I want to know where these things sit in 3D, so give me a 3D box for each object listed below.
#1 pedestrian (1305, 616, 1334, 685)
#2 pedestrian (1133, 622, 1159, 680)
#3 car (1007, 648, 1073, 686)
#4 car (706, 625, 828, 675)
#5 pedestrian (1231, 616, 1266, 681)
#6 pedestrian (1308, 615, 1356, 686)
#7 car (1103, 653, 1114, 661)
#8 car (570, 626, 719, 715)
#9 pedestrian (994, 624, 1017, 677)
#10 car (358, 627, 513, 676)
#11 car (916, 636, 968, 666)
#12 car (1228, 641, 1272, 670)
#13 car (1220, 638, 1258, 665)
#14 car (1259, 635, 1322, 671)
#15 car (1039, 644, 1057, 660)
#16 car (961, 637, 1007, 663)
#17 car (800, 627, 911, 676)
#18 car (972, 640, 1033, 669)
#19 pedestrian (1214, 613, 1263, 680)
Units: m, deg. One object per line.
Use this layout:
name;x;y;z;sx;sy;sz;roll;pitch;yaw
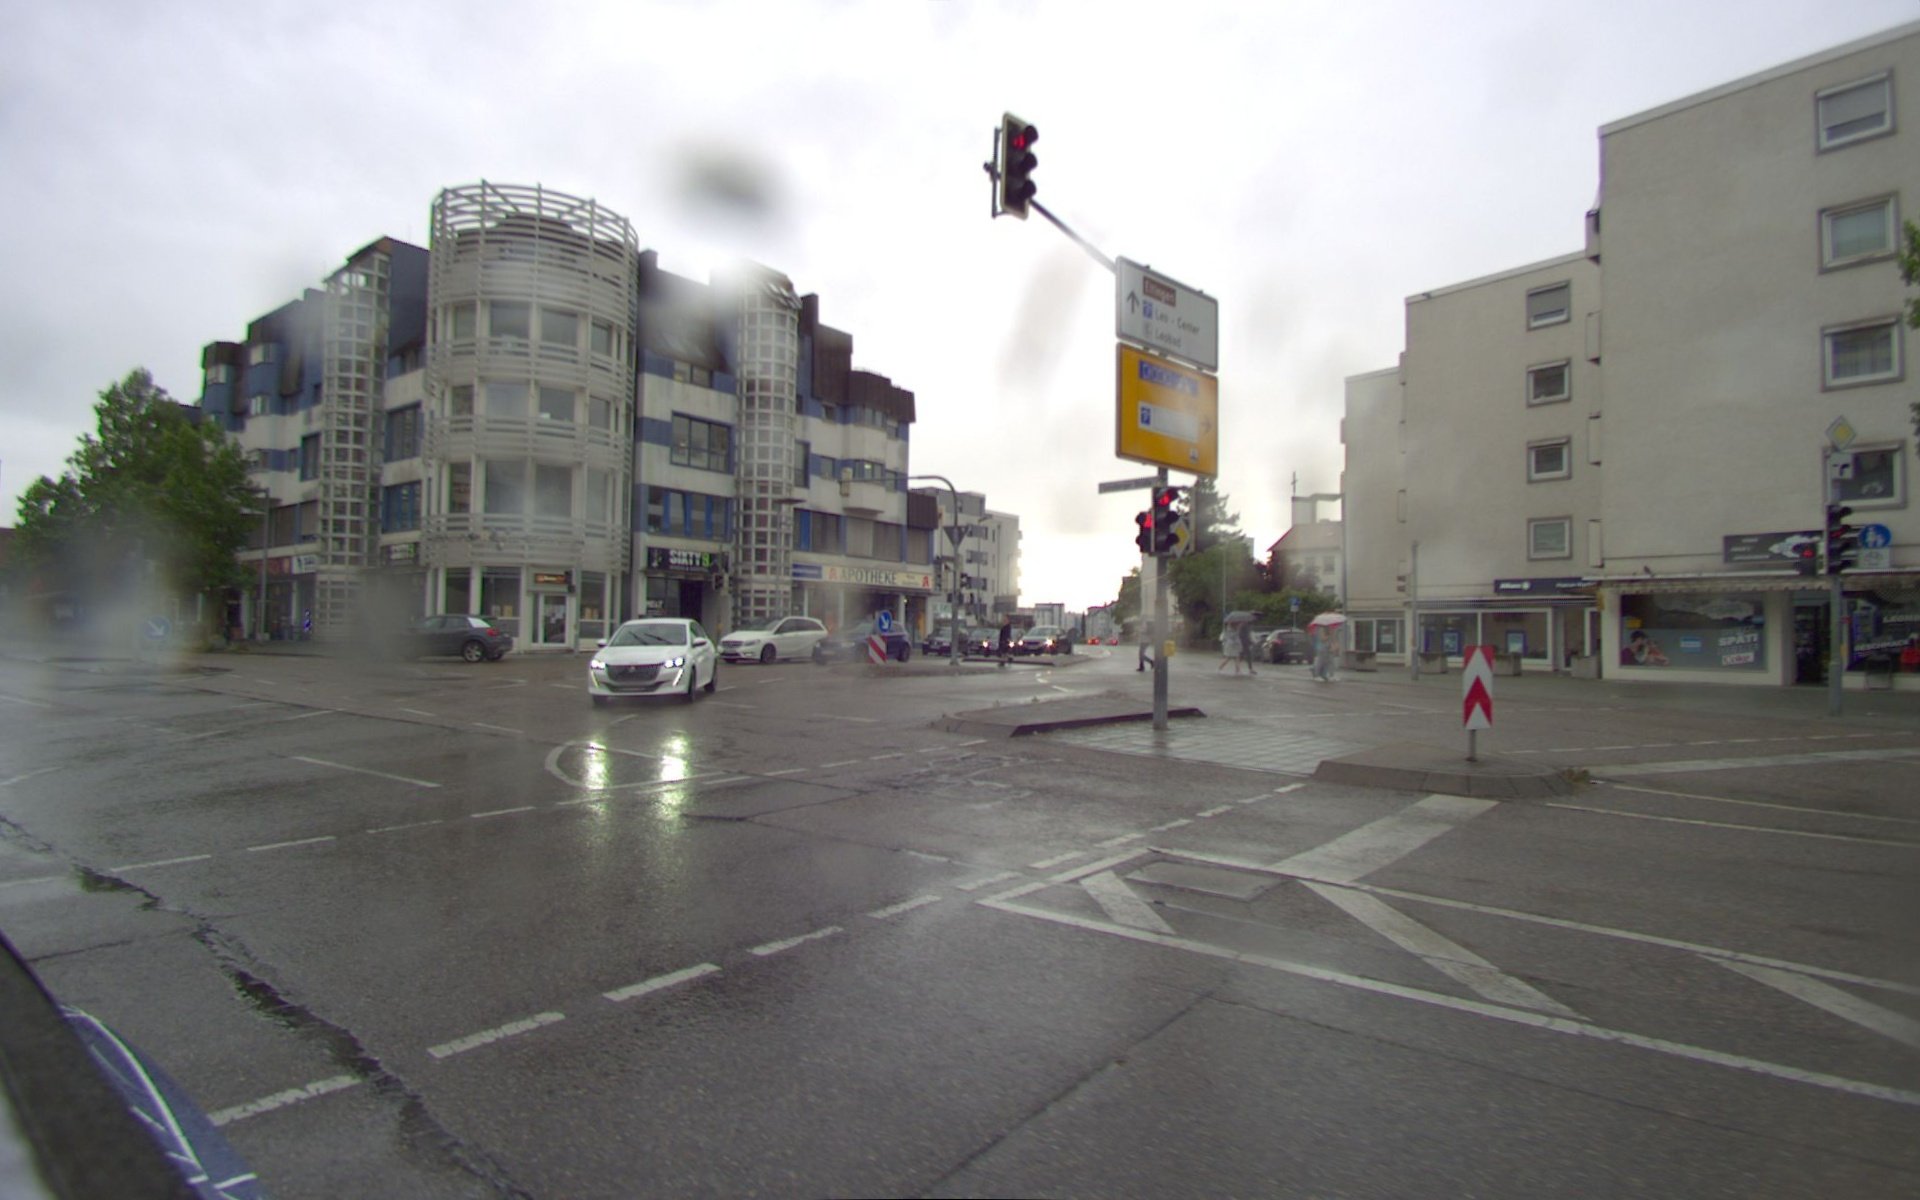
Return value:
pedestrian;9.052;1.253;25.484;0.669;1.698;0.801;0;-2;20
pedestrian;5.525;1.510;30.020;0.708;1.668;0.810;0;-3;16
car;3.692;3.006;46.088;1.985;1.627;3.972;-2;-3;20
car;-6.281;1.670;33.358;1.728;1.540;4.020;-1;-4;31
pedestrian;7.947;1.317;27.833;0.831;1.749;0.946;0;-2;23
pedestrian;9.006;1.217;24.491;0.934;1.690;0.907;-1;-3;29
car;26.454;10.163;180.070;1.850;1.448;3.731;0;-2;8
car;-5.554;1.198;18.284;1.718;1.420;3.899;0;-2;-4
pedestrian;1.390;1.553;31.088;0.649;1.597;0.912;0;-3;6
car;-16.409;1.606;31.860;3.982;1.455;1.738;0;-2;-8
car;-0.867;2.598;51.682;1.641;1.382;3.712;2;-2;16
car;15.604;2.977;54.670;1.618;1.511;4.336;0;-2;7
car;16.567;3.044;60.217;1.615;1.517;3.871;0;-2;8
car;14.373;2.306;44.234;1.816;1.471;4.178;-1;-3;8
car;8.932;5.255;102.481;1.724;1.652;3.990;0;-2;7
car;1.393;2.834;57.486;1.644;1.435;3.979;0;-3;16
car;-3.267;1.619;32.275;1.743;1.466;3.777;-1;-2;28
car;2.196;2.730;51.024;1.791;1.379;3.941;-1;-2;24
pedestrian;7.435;1.233;27.027;1.132;1.757;0.852;-1;-3;27
